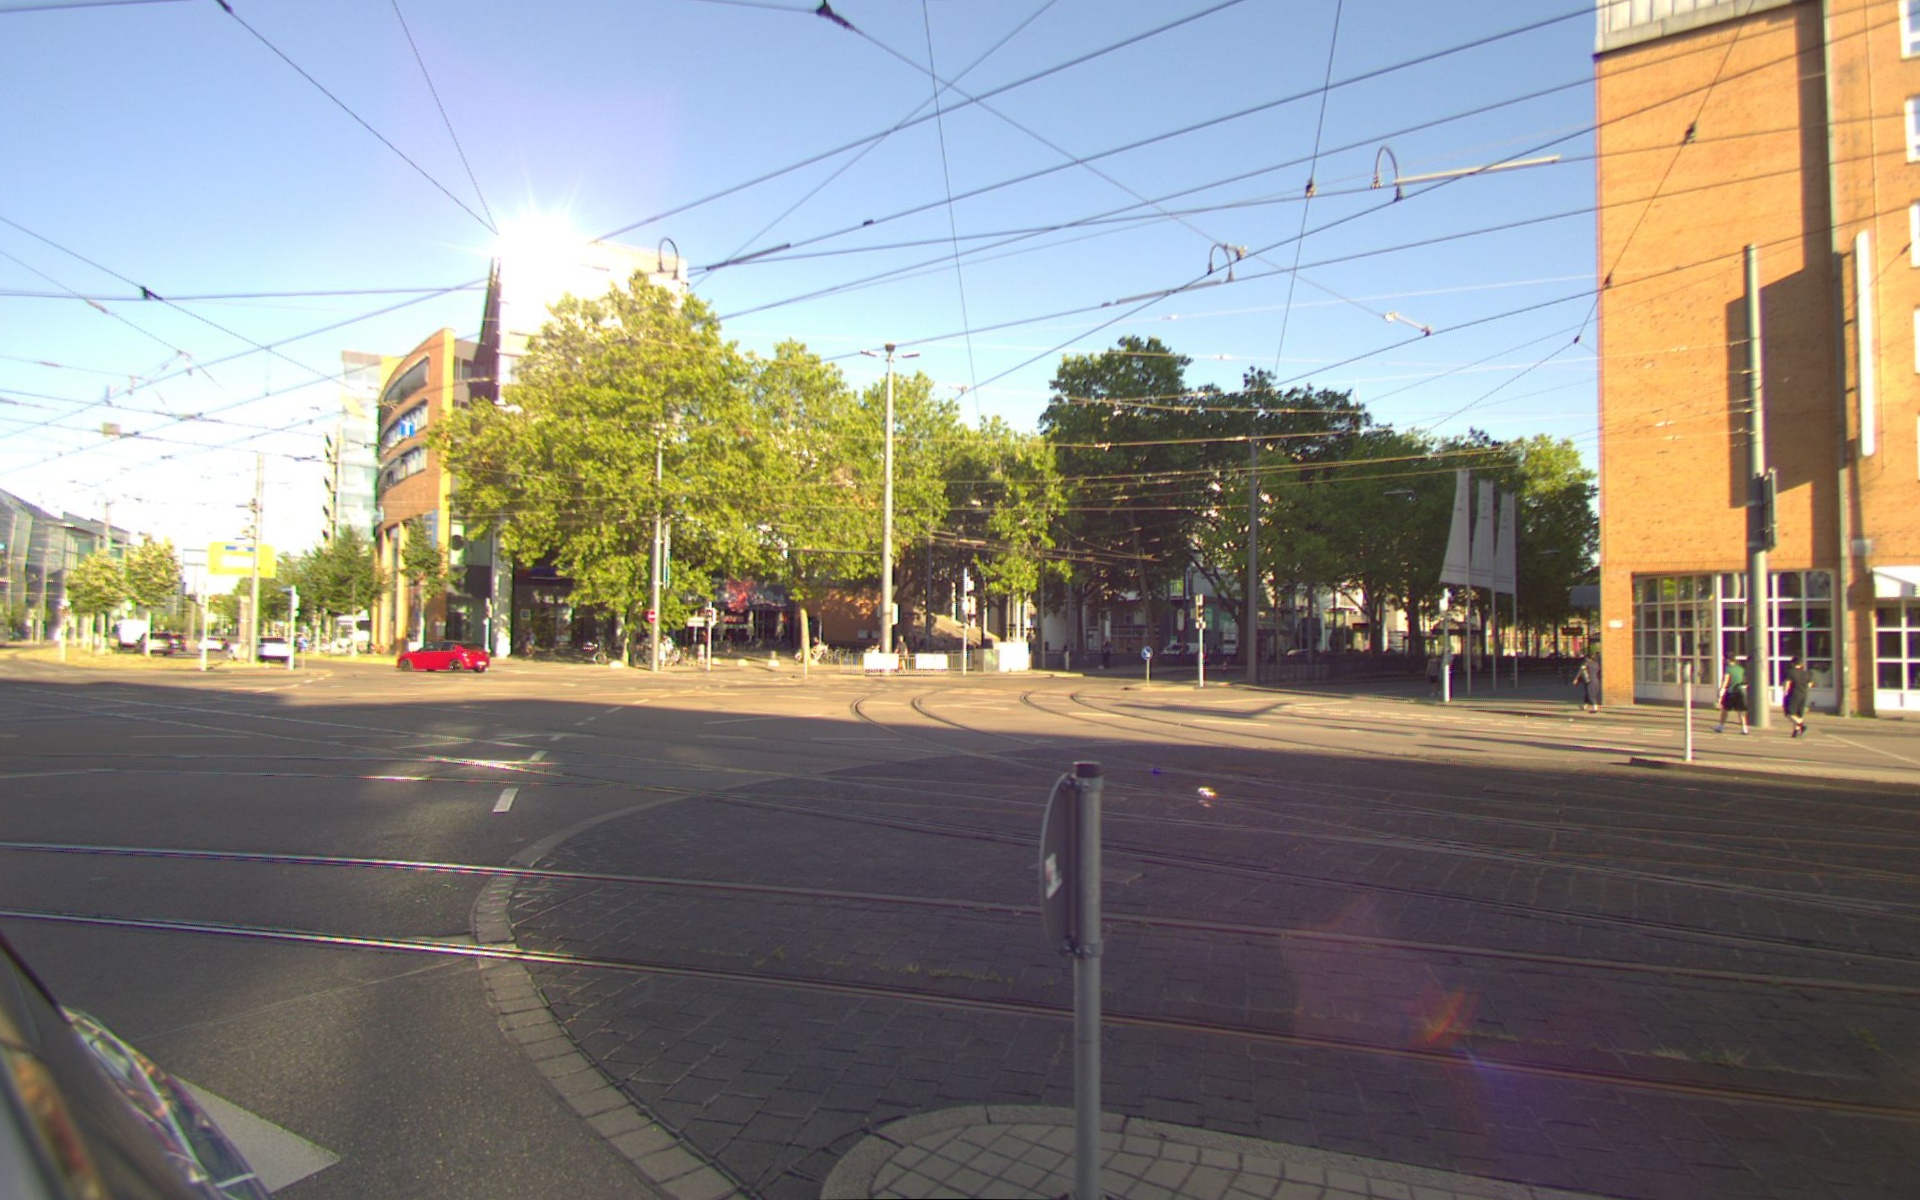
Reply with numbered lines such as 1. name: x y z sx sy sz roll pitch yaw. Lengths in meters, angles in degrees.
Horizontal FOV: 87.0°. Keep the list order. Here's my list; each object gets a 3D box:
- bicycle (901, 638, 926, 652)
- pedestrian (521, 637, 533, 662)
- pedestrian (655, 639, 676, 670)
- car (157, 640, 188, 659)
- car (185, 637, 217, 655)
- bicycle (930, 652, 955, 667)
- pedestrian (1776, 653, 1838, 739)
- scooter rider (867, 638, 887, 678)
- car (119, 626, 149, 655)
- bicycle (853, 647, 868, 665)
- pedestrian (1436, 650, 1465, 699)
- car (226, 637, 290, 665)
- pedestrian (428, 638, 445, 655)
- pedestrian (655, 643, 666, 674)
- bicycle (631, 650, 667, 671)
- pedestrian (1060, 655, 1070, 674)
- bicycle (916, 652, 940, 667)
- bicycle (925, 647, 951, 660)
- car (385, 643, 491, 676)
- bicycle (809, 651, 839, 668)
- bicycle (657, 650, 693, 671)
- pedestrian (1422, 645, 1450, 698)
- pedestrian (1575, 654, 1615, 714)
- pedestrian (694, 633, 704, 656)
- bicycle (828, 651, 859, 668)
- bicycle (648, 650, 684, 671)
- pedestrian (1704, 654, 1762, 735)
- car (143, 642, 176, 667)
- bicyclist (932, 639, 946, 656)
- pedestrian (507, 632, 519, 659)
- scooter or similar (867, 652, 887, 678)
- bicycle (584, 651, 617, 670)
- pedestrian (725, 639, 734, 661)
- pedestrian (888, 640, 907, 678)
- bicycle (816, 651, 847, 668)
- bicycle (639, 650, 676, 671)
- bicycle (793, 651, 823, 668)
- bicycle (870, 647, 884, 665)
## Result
1. bicycle: -3.807 3.677 82.738 1.980 1.075 0.698 2 -3 -27
2. pedestrian: -28.927 3.281 67.623 0.585 1.669 0.594 2 -3 -29
3. pedestrian: -17.066 3.174 58.669 0.879 1.778 0.732 4 -5 -42
4. car: -69.966 4.380 89.950 1.834 1.645 4.273 2 -4 -35
5. car: -71.714 4.353 95.600 1.838 1.645 4.265 4 -4 -45
6. bicycle: -1.217 4.213 71.639 0.578 1.072 1.918 -2 -4 44
7. pedestrian: 17.628 1.984 21.075 0.630 1.731 0.780 2 -3 -28
8. scooter rider: -3.911 2.749 47.886 0.579 1.847 0.764 3 -4 -42
9. car: -74.738 3.718 91.529 1.968 2.499 5.984 3 -4 -39
10. bicycle: -6.711 3.749 68.259 0.772 1.198 3.559 1 -3 -2
11. pedestrian: 17.827 2.692 36.774 0.693 1.756 0.649 3 -4 -36
12. car: -38.139 2.760 54.960 3.991 1.463 1.616 -2 -4 36
13. pedestrian: -35.912 3.190 69.410 0.679 1.089 0.768 -1 -3 32
14. pedestrian: -15.381 2.993 51.955 0.476 1.550 0.574 1 -3 -12
15. bicycle: -17.659 3.441 57.570 0.775 1.138 1.819 -1 -4 39
16. pedestrian: 5.600 3.445 54.124 0.405 1.040 0.374 -1 -3 36
17. bicycle: -2.292 4.283 72.838 0.578 1.072 1.918 -2 -4 44
18. bicycle: -1.794 4.300 81.421 1.980 1.075 0.698 2 -3 -20
19. car: -23.300 2.643 45.242 3.950 1.439 1.689 0 -3 6
20. bicycle: -8.932 3.914 66.511 0.784 1.072 1.918 -2 -4 44
21. bicycle: -15.738 3.342 55.936 0.775 1.138 1.819 -1 -4 39
22. pedestrian: 17.641 2.633 37.493 0.733 1.910 0.649 3 -3 -36
23. pedestrian: 16.779 2.204 26.754 0.866 1.565 0.540 -1 -3 32
24. pedestrian: -19.218 3.266 74.488 0.561 1.682 0.545 3 -3 -32
25. bicycle: -7.515 3.843 65.336 0.784 1.072 1.918 -2 -4 44
26. bicycle: -16.387 3.375 56.481 0.775 1.138 1.819 -1 -4 39
27. pedestrian: 16.857 2.041 22.071 0.630 1.731 0.780 2 -3 -28
28. car: -54.402 3.745 68.761 1.593 1.615 4.183 6 -6 -38
29. bicyclist: -1.722 3.832 81.477 0.942 1.355 0.677 2 -3 -20
30. pedestrian: -29.726 3.020 67.317 0.583 1.769 0.597 2 -3 -16
31. scooter or similar: -3.927 3.071 47.781 0.448 1.188 1.163 3 -3 -33
32. bicycle: -20.180 3.396 56.854 0.549 1.044 1.675 -2 -4 43
33. pedestrian: -17.278 3.734 75.791 0.534 1.682 0.572 2 -3 -17
34. pedestrian: -2.966 2.789 47.965 0.661 1.810 0.571 2 -3 -29
35. bicycle: -8.355 3.877 65.895 0.784 1.072 1.918 -2 -4 44
36. bicycle: -17.035 3.407 57.023 0.775 1.138 1.819 -1 -4 39
37. bicycle: -10.072 3.946 67.077 0.784 1.072 1.918 -2 -4 44
38. bicycle: -5.614 3.771 68.643 0.772 1.198 3.559 1 -3 -2
